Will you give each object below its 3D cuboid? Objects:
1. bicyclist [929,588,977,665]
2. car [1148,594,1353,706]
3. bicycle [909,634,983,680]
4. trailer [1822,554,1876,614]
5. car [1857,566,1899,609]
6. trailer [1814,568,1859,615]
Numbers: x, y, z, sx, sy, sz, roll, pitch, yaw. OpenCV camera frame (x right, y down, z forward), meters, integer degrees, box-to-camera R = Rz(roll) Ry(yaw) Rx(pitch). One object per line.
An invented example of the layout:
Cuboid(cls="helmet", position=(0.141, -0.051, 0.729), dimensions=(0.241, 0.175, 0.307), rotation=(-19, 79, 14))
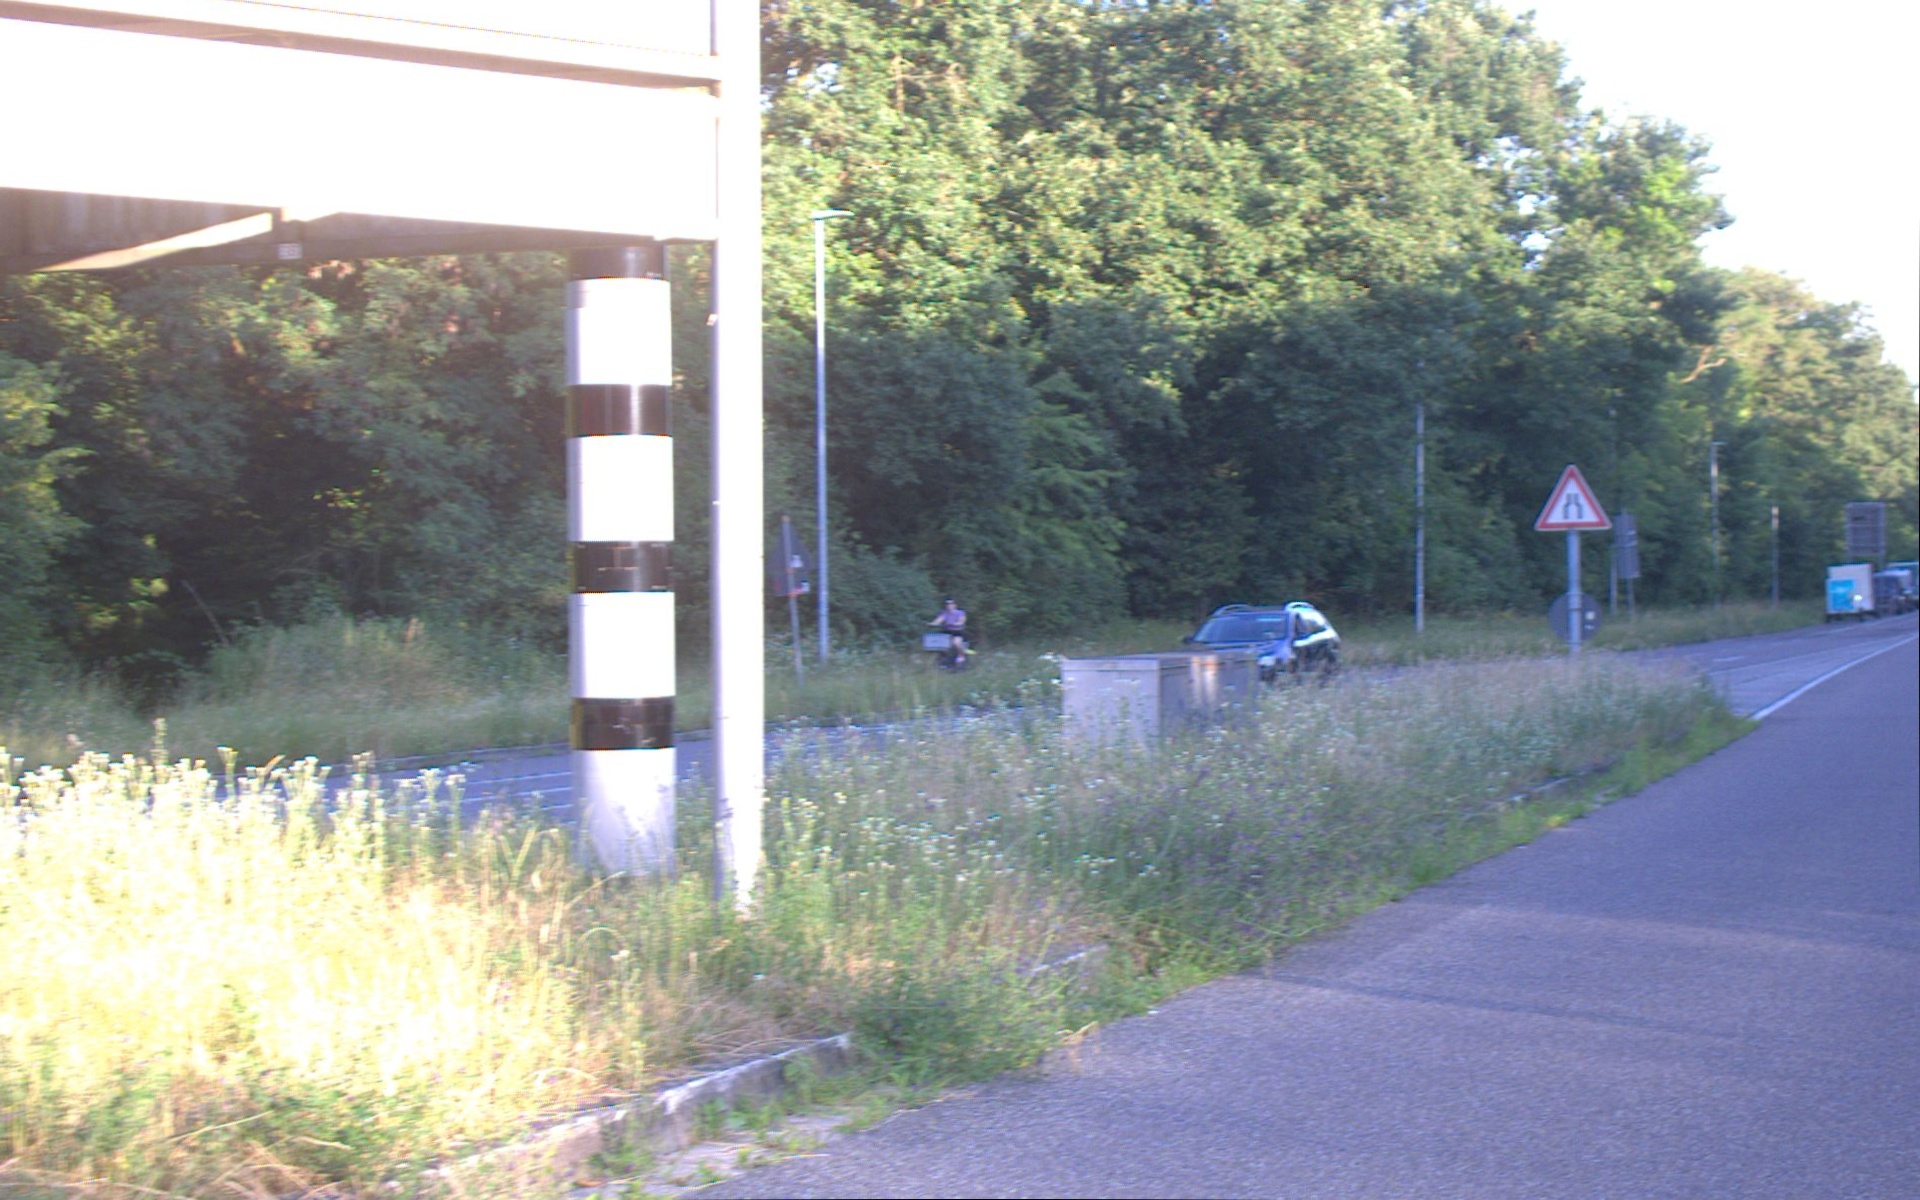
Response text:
Cuboid(cls="bicyclist", position=(-0.128, 0.493, 64.136), dimensions=(0.586, 1.425, 0.821), rotation=(-1, 0, 25))
Cuboid(cls="car", position=(4.411, 0.727, 51.633), dimensions=(1.821, 1.528, 4.450), rotation=(-2, -1, 21))
Cuboid(cls="bicycle", position=(-0.253, 1.049, 63.999), dimensions=(0.586, 0.802, 1.956), rotation=(-1, 0, 25))
Cuboid(cls="trailer", position=(45.651, -0.827, 176.433), dimensions=(2.327, 2.914, 5.622), rotation=(-3, 0, 17))
Cuboid(cls="car", position=(53.576, -0.744, 200.519), dimensions=(1.995, 2.356, 5.760), rotation=(-3, -1, 17))
Cuboid(cls="trailer", position=(41.174, -0.394, 161.489), dimensions=(1.818, 2.160, 4.139), rotation=(-1, 0, 17))
